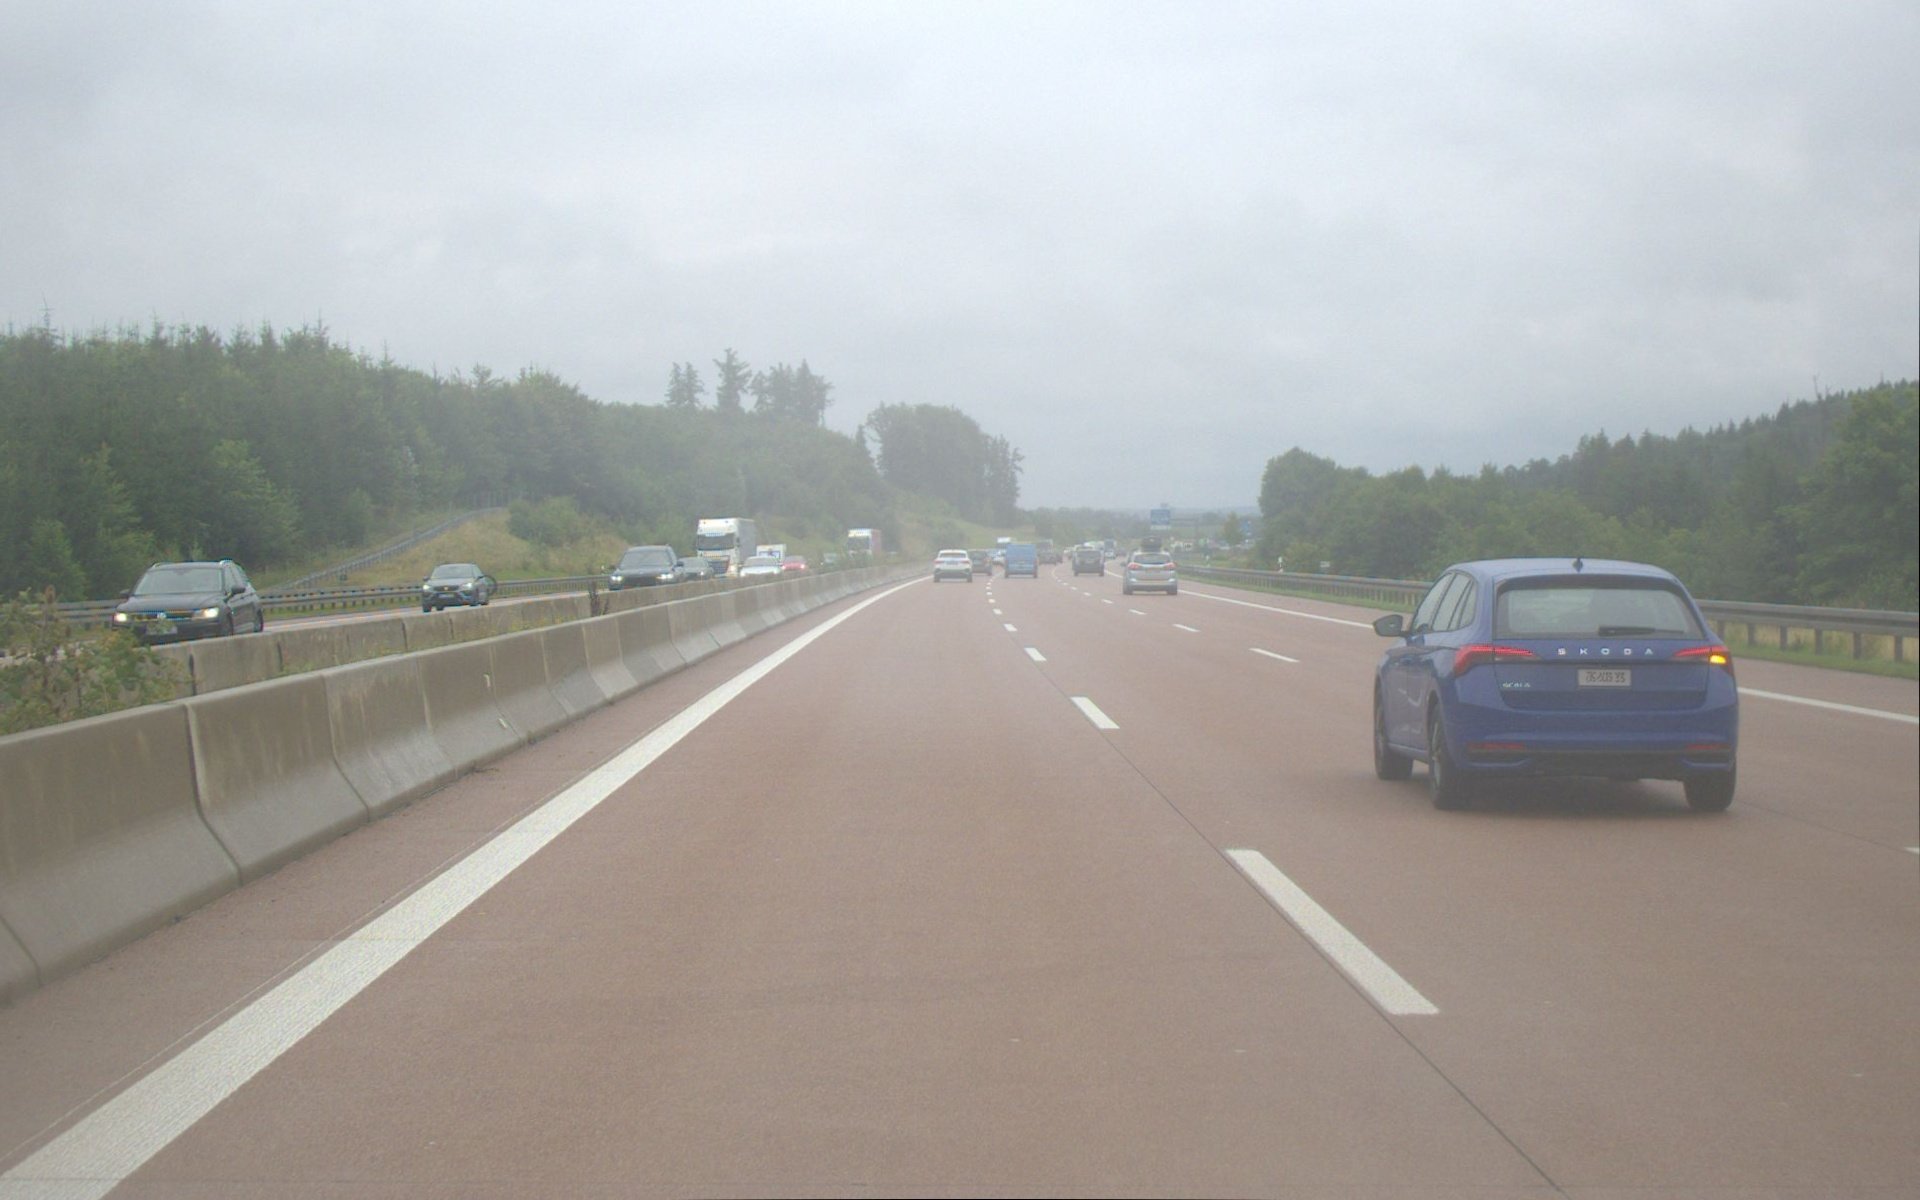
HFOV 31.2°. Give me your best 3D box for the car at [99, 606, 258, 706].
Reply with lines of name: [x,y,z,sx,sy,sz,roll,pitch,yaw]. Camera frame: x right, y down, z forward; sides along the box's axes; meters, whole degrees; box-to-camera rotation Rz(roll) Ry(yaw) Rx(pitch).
car: [-12.994,0.903,57.383,1.715,1.577,4.316,-1,0,-1]

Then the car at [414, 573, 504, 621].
car: [-16.954,-0.082,116.545,1.993,1.555,5.744,1,0,2]

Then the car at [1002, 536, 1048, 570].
car: [3.641,-2.614,192.378,2.322,1.744,4.877,1,0,-2]

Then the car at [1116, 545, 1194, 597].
car: [6.844,-0.994,121.117,2.322,1.744,4.877,1,0,-2]

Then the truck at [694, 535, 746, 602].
truck: [-15.370,-1.993,220.707,2.768,4.161,6.001,-2,0,0]

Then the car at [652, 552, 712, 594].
car: [-12.920,-1.242,159.894,2.280,1.855,5.728,1,0,0]

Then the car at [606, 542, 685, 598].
car: [-9.216,-0.901,101.000,1.865,1.546,4.807,1,1,0]

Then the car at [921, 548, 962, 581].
car: [-0.889,-1.685,164.225,1.874,1.439,4.877,1,0,-1]

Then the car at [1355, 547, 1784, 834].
car: [3.614,0.511,21.098,1.771,1.559,4.147,1,0,-2]

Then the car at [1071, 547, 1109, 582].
car: [7.840,-2.123,207.736,1.993,2.007,4.000,1,0,-2]
